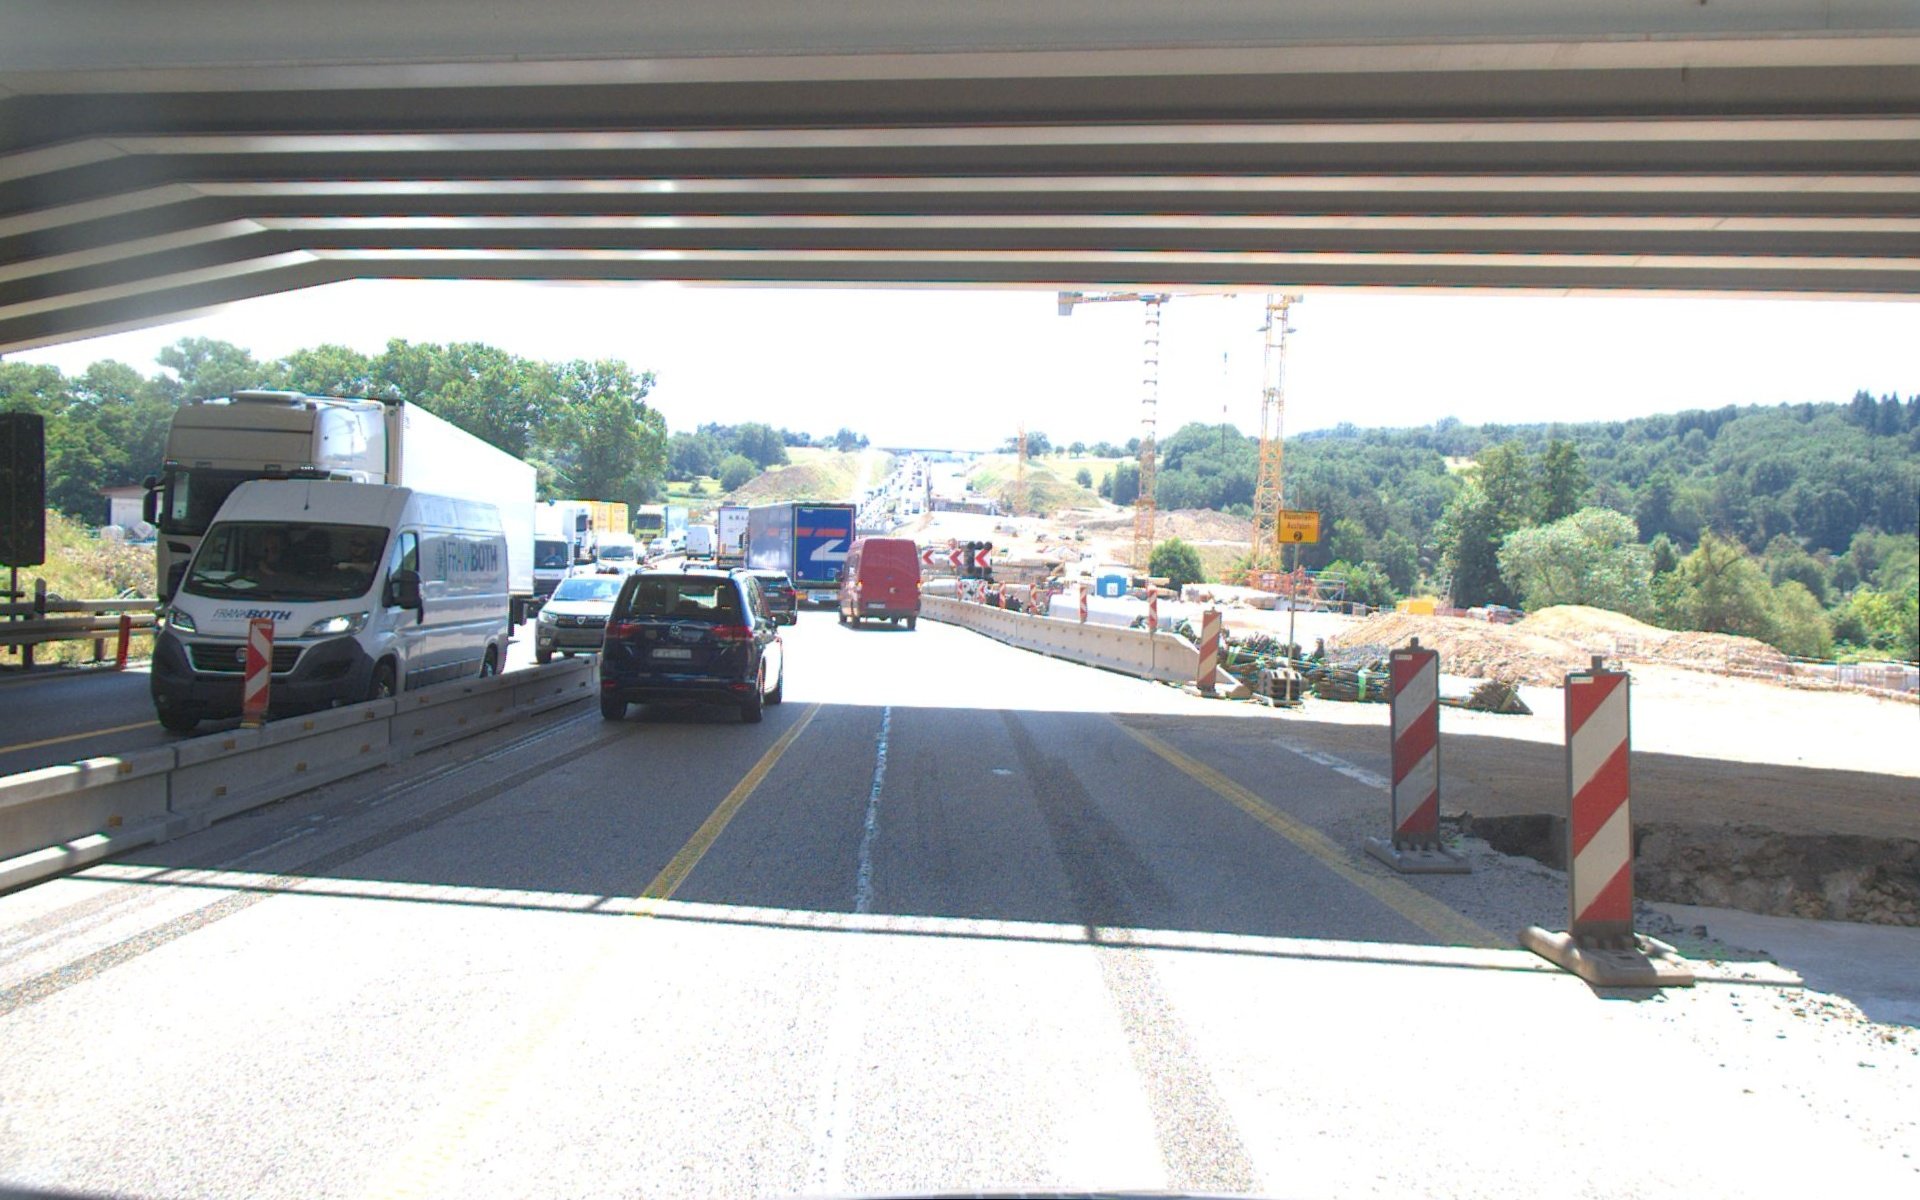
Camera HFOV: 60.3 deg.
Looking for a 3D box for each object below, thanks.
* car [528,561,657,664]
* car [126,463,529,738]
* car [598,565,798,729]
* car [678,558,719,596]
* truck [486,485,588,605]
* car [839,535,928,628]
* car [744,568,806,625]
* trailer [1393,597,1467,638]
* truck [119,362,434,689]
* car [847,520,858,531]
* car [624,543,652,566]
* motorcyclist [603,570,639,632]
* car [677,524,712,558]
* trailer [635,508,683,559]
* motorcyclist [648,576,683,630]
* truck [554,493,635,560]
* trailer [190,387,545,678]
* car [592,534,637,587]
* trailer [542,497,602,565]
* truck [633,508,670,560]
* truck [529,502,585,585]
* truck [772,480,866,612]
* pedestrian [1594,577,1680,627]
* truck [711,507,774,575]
[{"bbox_3d":[-6.582,0.180,30.004,1.712,1.700,4.075,1,1,-5],"label":"car"},{"bbox_3d":[-6.347,0.007,17.564,1.940,2.371,6.057,1,0,-1],"label":"car"},{"bbox_3d":[-2.935,0.451,19.369,1.699,1.664,4.389,1,1,-1],"label":"car"},{"bbox_3d":[-12.416,-1.106,78.423,1.801,1.663,4.096,1,2,-11],"label":"car"},{"bbox_3d":[-14.268,-1.792,55.351,2.773,3.637,8.456,1,1,-18],"label":"truck"},{"bbox_3d":[-2.411,-0.609,50.737,2.110,2.656,5.428,1,1,-9],"label":"car"},{"bbox_3d":[-5.749,-0.137,51.819,1.798,1.664,4.385,1,1,-5],"label":"car"},{"bbox_3d":[19.139,0.695,67.503,1.592,1.512,3.823,2,1,-5],"label":"trailer"},{"bbox_3d":[-9.680,-0.987,24.030,2.819,4.121,4.878,3,0,-7],"label":"truck"},{"bbox_3d":[-16.742,-11.610,257.391,1.585,1.729,3.889,2,2,-2],"label":"car"},{"bbox_3d":[-21.678,-3.073,111.519,1.646,1.385,4.494,2,2,-9],"label":"car"},{"bbox_3d":[-8.038,0.024,39.215,0.704,1.441,0.742,1,-1,-3],"label":"motorcyclist"},{"bbox_3d":[-19.954,-4.441,124.407,2.221,2.395,5.156,1,3,-5],"label":"car"},{"bbox_3d":[-27.481,-6.038,151.733,2.595,4.366,13.302,3,2,-4],"label":"trailer"},{"bbox_3d":[-7.954,0.089,44.719,0.794,1.441,0.742,1,-1,-4],"label":"motorcyclist"},{"bbox_3d":[-25.941,-5.173,118.188,2.750,4.417,15.371,2,2,-2],"label":"truck"},{"bbox_3d":[-10.444,-1.073,31.332,2.822,4.110,14.340,3,1,-6],"label":"trailer"},{"bbox_3d":[-17.523,-1.942,83.720,2.035,2.547,6.462,1,0,-13],"label":"car"},{"bbox_3d":[-25.611,-4.529,109.381,2.808,4.302,5.217,1,1,-2],"label":"trailer"},{"bbox_3d":[-27.006,-5.795,144.878,2.574,4.344,4.728,2,2,-5],"label":"truck"},{"bbox_3d":[-20.088,-2.768,82.400,2.491,3.888,4.932,2,1,-14],"label":"truck"},{"bbox_3d":[-5.821,-2.216,67.247,2.893,5.030,6.722,1,2,-13],"label":"truck"},{"bbox_3d":[29.210,0.103,71.501,1.953,2.049,3.998,1,-1,-2],"label":"pedestrian"},{"bbox_3d":[-13.561,-3.717,103.707,3.118,4.058,6.741,1,2,-2],"label":"truck"}]
